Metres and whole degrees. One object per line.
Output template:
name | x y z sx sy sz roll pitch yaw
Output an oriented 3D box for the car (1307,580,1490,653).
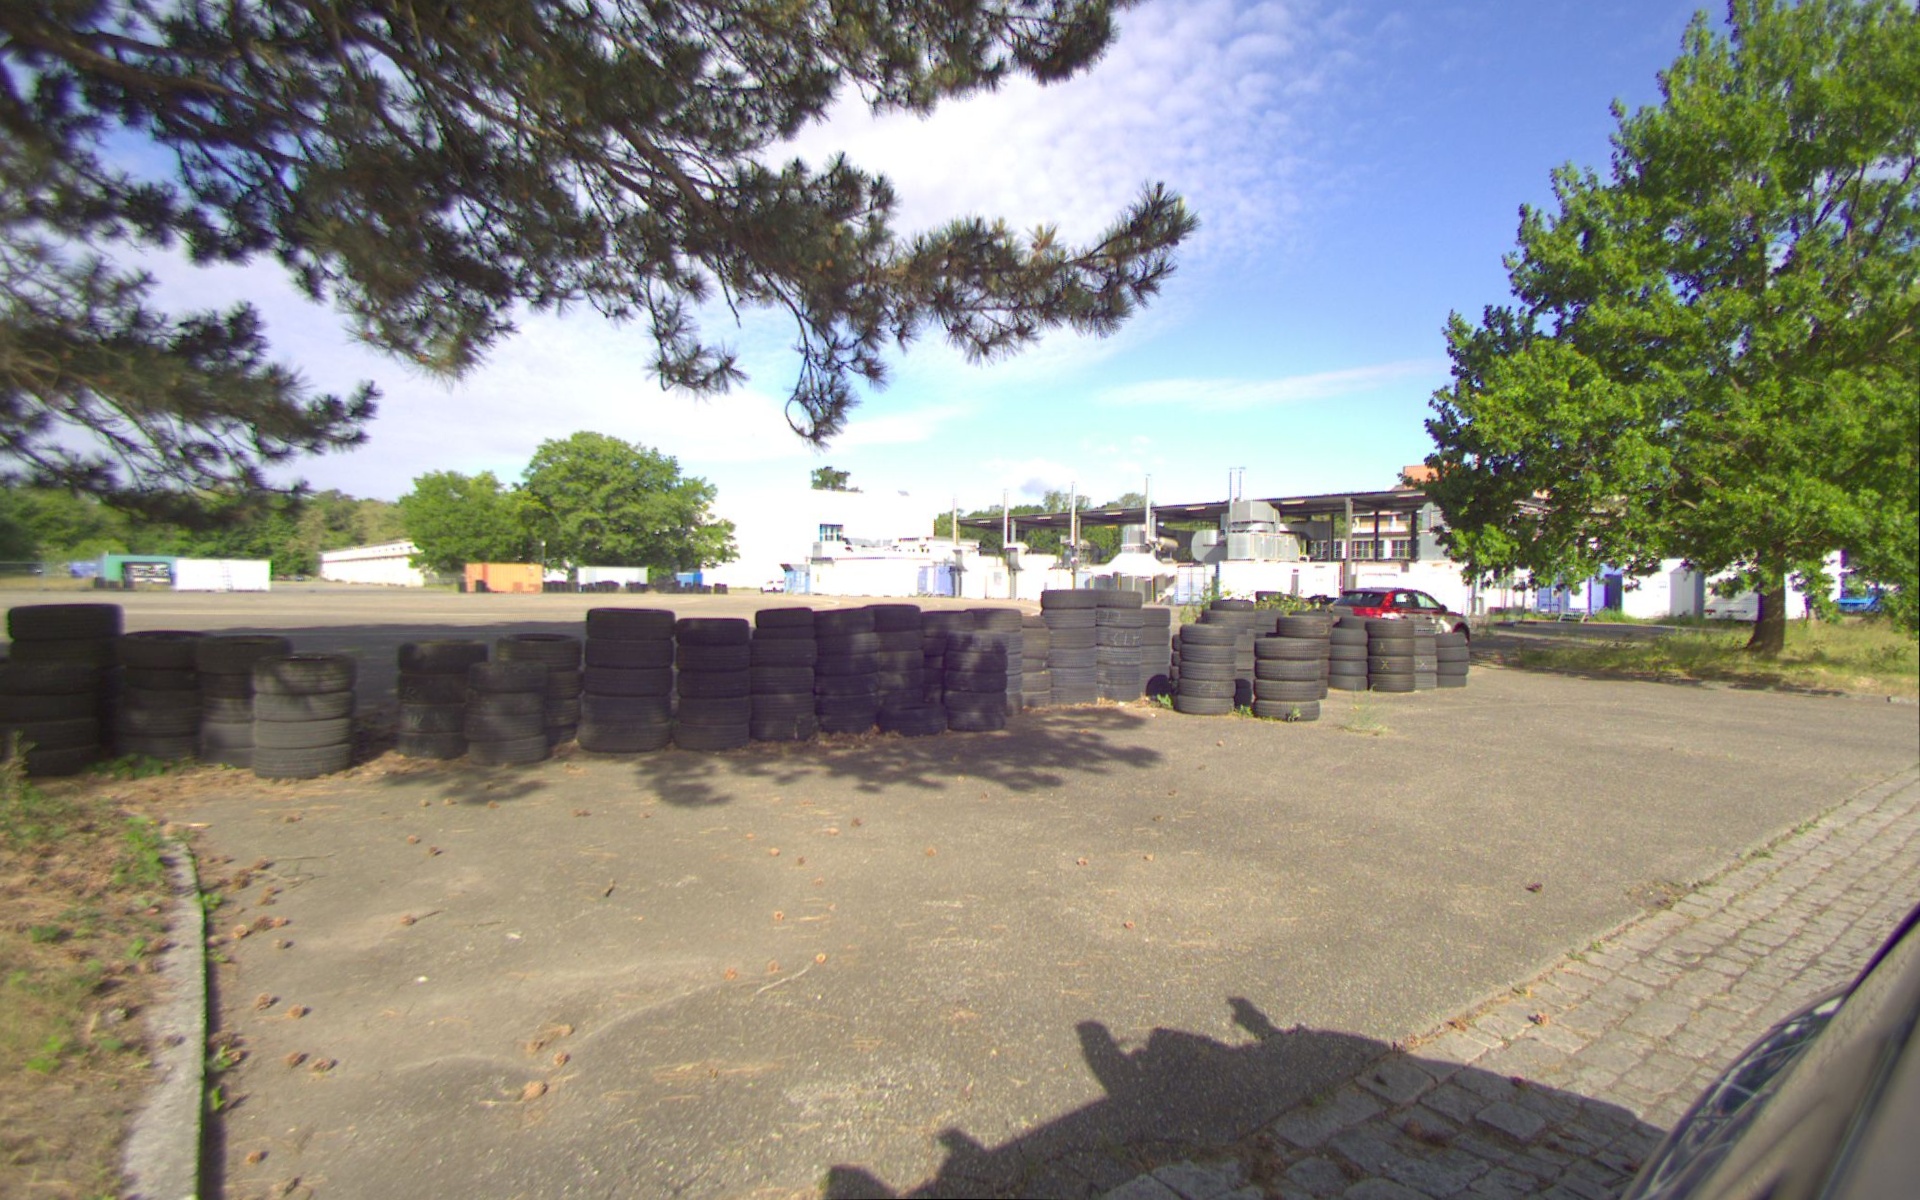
car | 9.773 0.320 22.500 3.922 1.467 1.850 0 1 -32
